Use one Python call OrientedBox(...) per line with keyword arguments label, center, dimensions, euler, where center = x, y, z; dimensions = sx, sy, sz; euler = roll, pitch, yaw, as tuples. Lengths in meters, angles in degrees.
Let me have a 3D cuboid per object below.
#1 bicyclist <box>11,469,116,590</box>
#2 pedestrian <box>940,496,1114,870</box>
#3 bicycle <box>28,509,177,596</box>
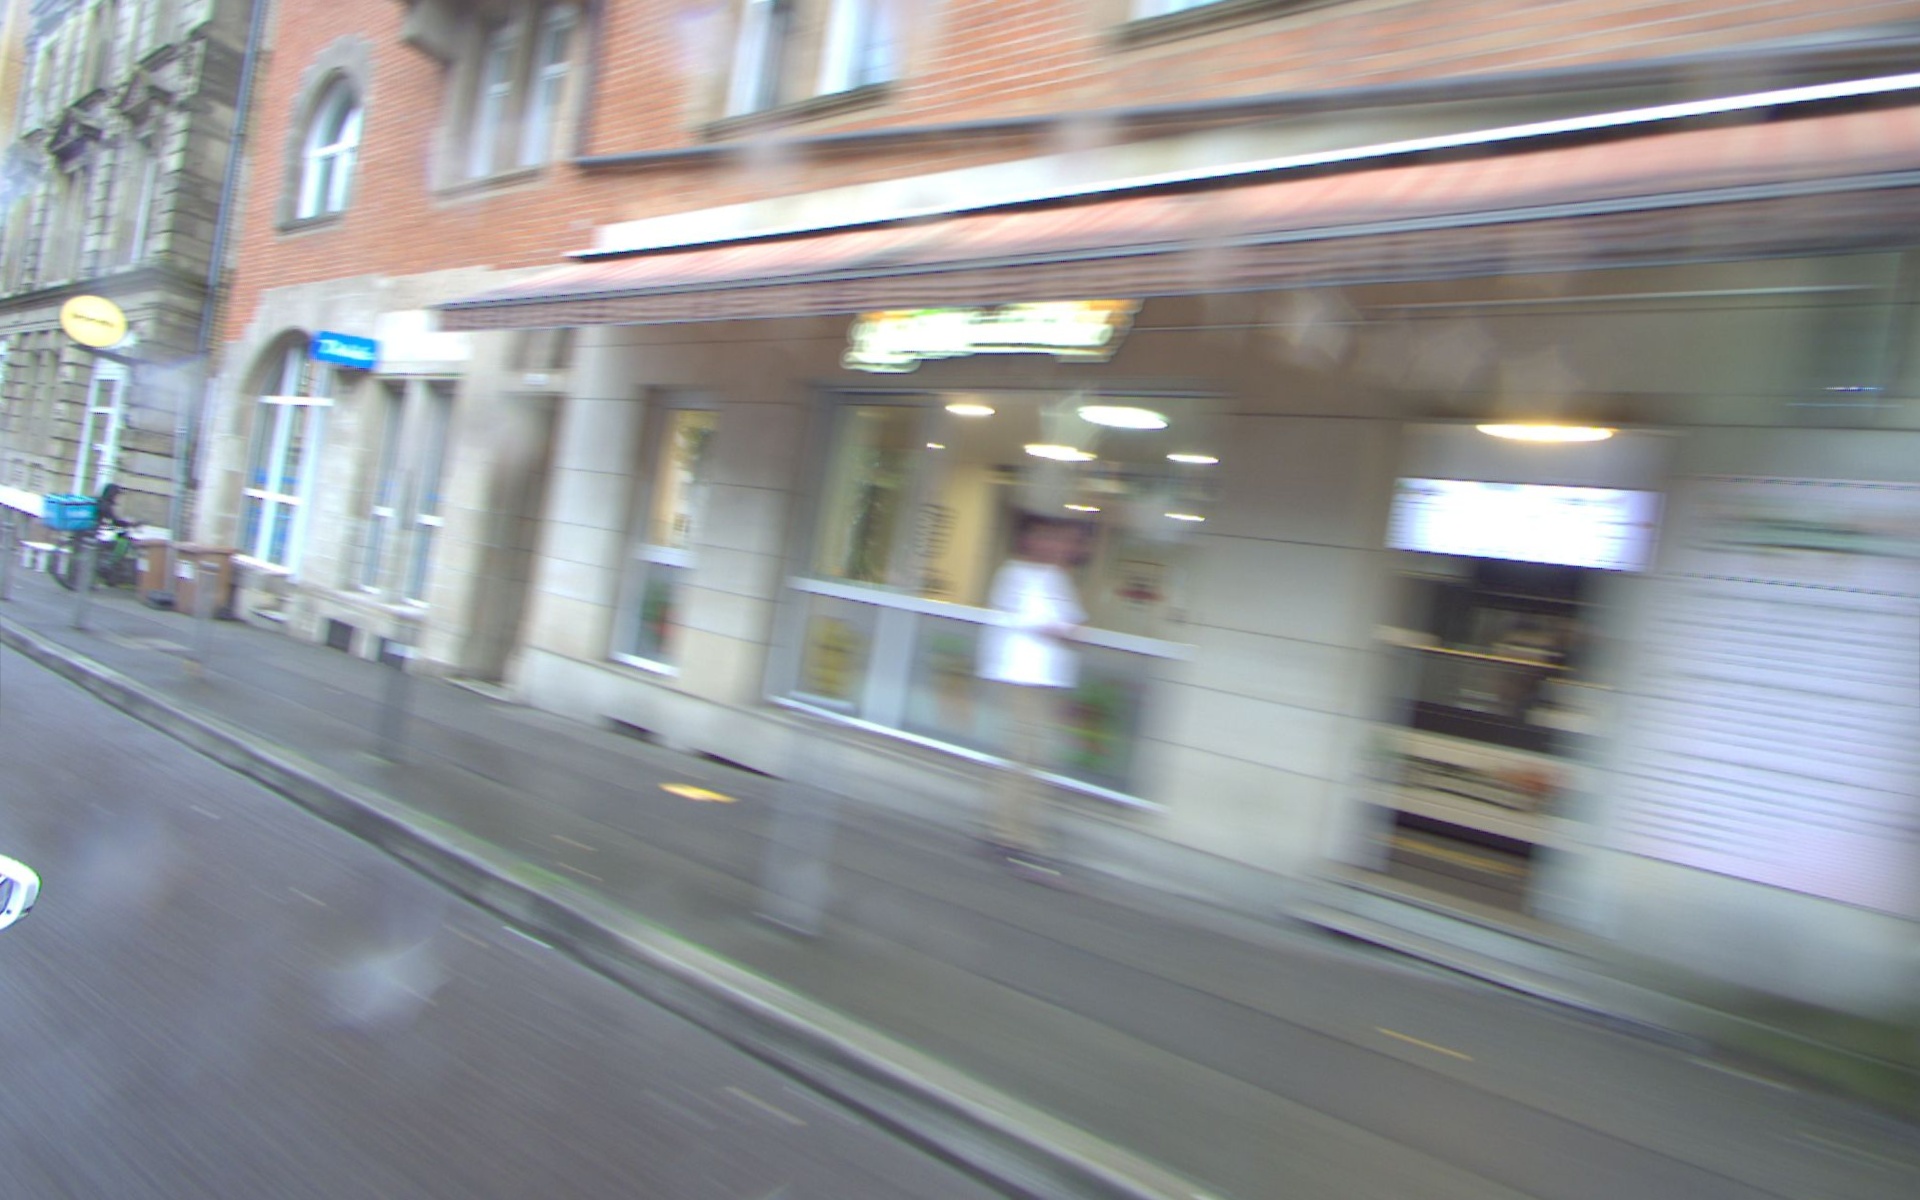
OrientedBox(label="bicyclist", center=(-13.432, -1.035, 15.093), dimensions=(0.619, 1.677, 0.850), euler=(7, 0, 14))
OrientedBox(label="pedestrian", center=(0.364, 0.415, 5.385), dimensions=(0.555, 1.854, 0.577), euler=(6, 2, 34))
OrientedBox(label="bicycle", center=(-12.944, -0.687, 15.250), dimensions=(0.456, 1.129, 1.690), euler=(7, 0, 14))
